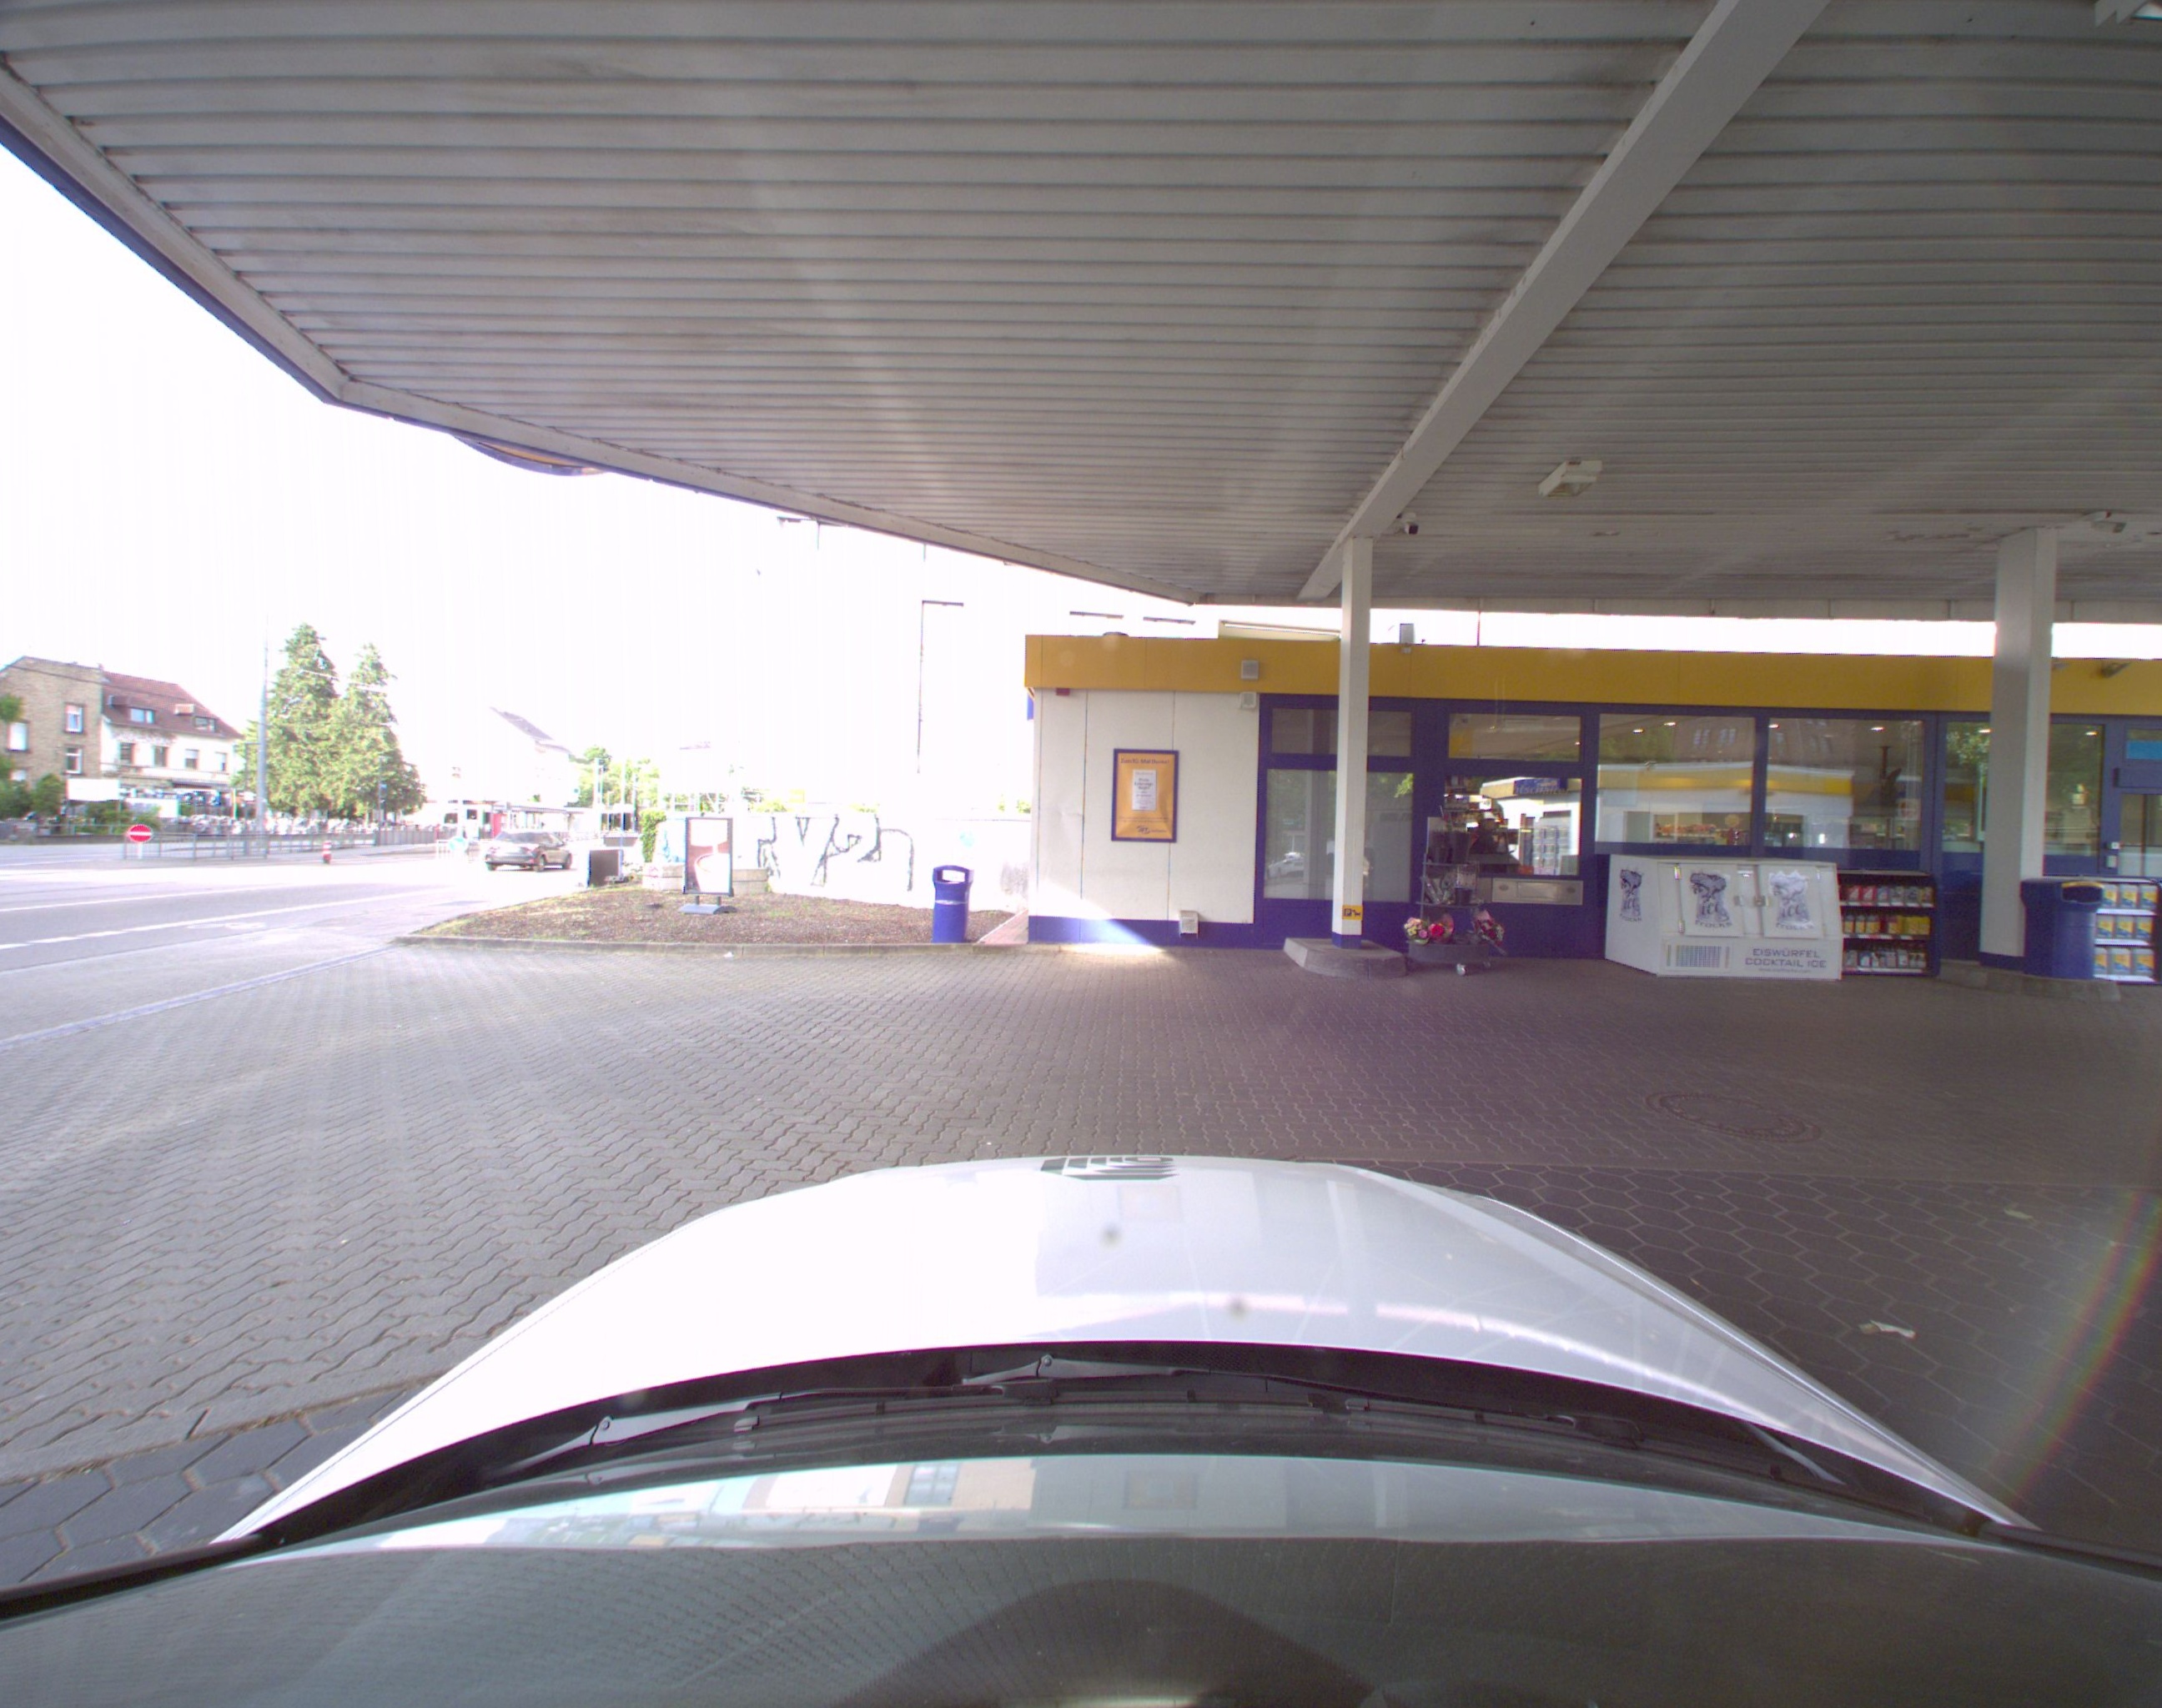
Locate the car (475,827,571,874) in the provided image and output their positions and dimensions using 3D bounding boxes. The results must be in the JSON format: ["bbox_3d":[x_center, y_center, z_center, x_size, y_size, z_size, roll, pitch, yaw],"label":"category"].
[{"bbox_3d":[-20.289,-0.161,29.781,1.670,1.547,3.692,2,1,-15],"label":"car"}]

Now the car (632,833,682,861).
[{"bbox_3d":[-23.700,-0.424,45.626,1.670,1.400,3.692,2,1,-15],"label":"car"}]
